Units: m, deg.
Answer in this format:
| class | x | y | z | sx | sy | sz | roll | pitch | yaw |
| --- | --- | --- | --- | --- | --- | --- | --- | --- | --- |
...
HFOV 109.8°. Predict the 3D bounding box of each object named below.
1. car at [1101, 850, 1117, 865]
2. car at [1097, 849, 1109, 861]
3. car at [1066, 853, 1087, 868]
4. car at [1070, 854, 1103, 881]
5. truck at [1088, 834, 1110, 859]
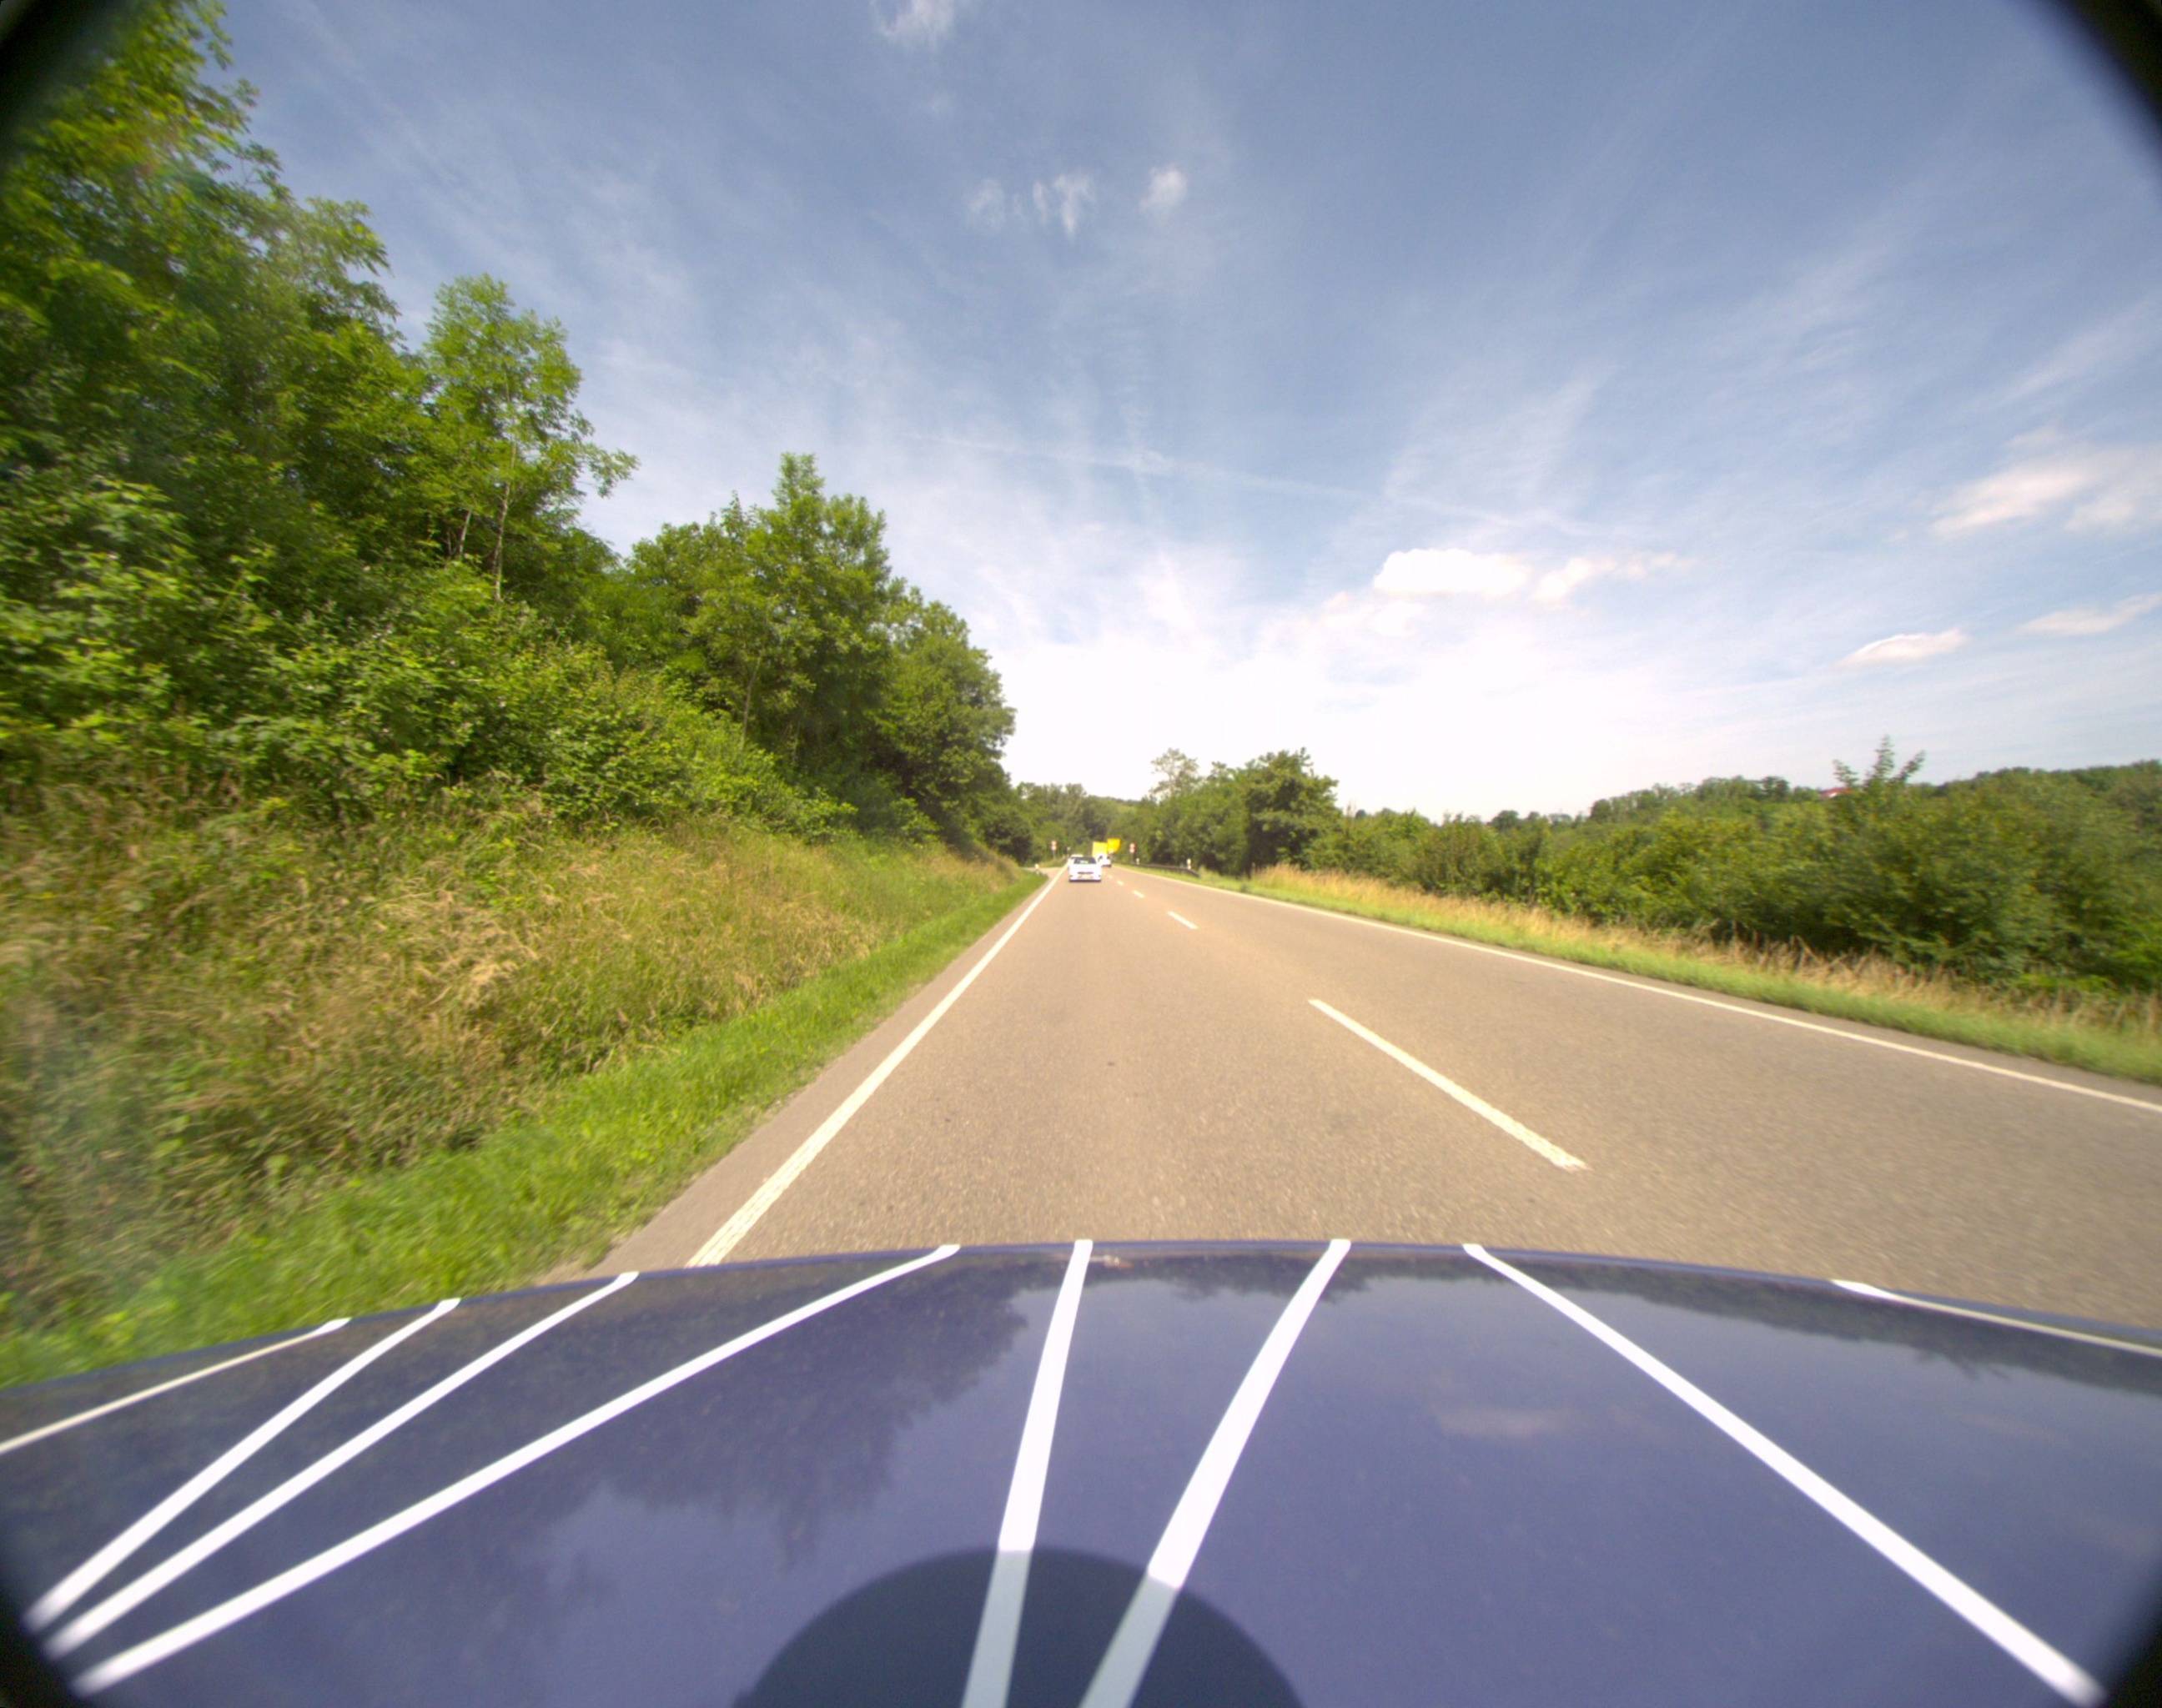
| class | x | y | z | sx | sy | sz | roll | pitch | yaw |
| --- | --- | --- | --- | --- | --- | --- | --- | --- | --- |
| car | 3.726 | 0.433 | 102.373 | 1.842 | 1.834 | 4.224 | 2 | 0 | -2 |
| car | 3.611 | 0.169 | 123.358 | 1.841 | 1.834 | 4.226 | 2 | 0 | 3 |
| car | -0.481 | 0.629 | 74.865 | 1.866 | 1.480 | 3.999 | -1 | 0 | -3 |
| car | 0.312 | 0.767 | 43.744 | 1.772 | 1.437 | 4.000 | -2 | 0 | 1 |
| truck | 3.273 | -1.466 | 143.268 | 3.339 | 4.503 | 8.574 | 2 | 0 | -4 |
